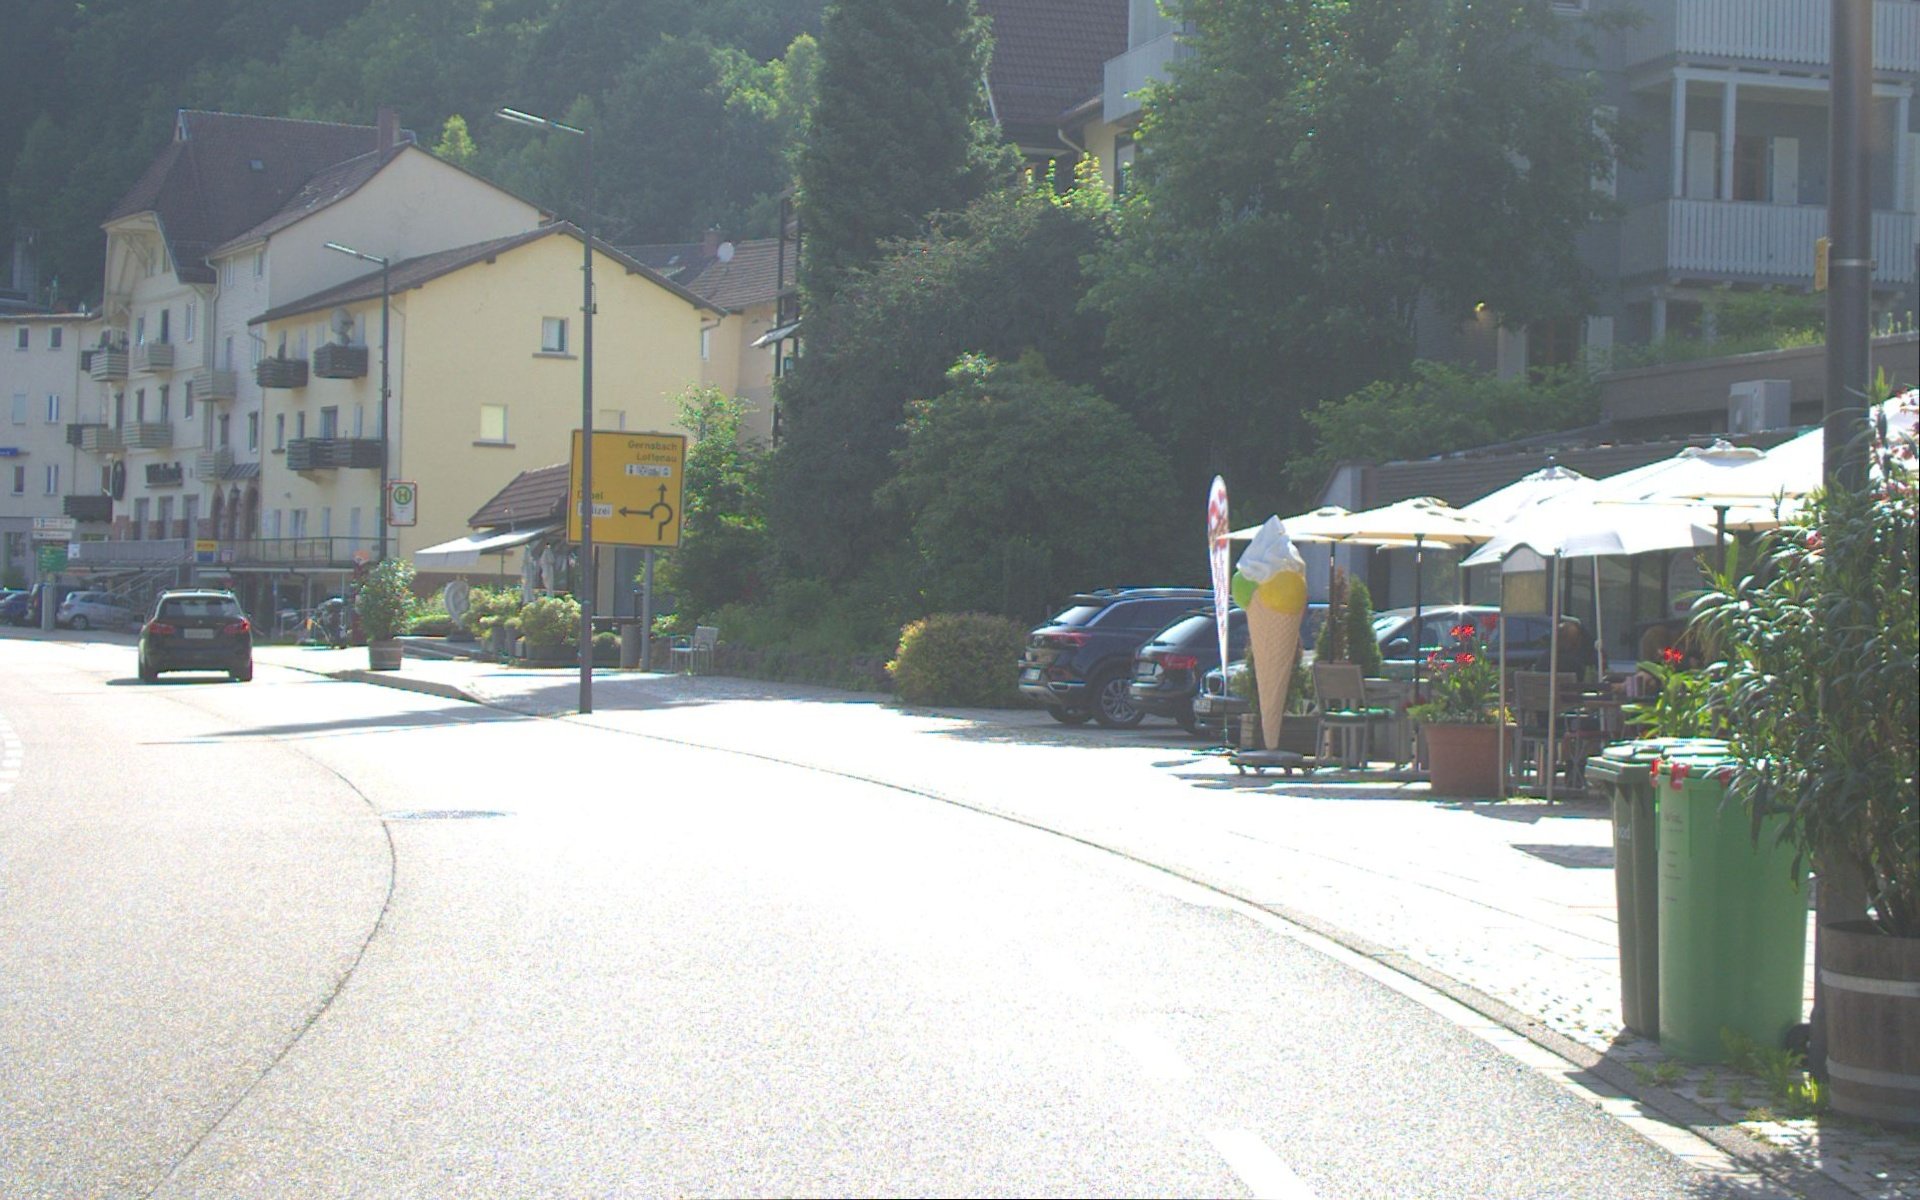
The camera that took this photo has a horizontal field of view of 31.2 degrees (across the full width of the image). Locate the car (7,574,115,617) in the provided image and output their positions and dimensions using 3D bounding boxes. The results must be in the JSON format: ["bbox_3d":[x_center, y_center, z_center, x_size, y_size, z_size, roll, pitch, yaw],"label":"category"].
[{"bbox_3d":[-36.589,-0.181,139.985,3.908,1.456,1.736,4,-1,-26],"label":"car"}]

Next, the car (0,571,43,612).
[{"bbox_3d":[-42.286,-0.459,149.899,4.083,1.660,1.773,5,-1,-26],"label":"car"}]

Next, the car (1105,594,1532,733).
[{"bbox_3d":[3.760,0.657,36.209,4.108,1.410,1.749,1,0,-15],"label":"car"}]

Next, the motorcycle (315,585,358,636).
[{"bbox_3d":[-16.337,0.273,90.020,0.697,1.292,2.213,-2,1,-20],"label":"motorcycle"}]

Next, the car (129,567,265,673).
[{"bbox_3d":[-13.043,0.324,58.660,1.726,1.569,3.754,3,1,-20],"label":"car"}]

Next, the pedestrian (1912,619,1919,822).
[{"bbox_3d":[6.355,0.750,21.171,0.810,1.256,0.700,0,0,3],"label":"pedestrian"}]

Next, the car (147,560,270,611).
[{"bbox_3d":[-26.771,-0.506,122.555,3.858,1.549,1.761,4,-1,-29],"label":"car"}]

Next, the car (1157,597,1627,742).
[{"bbox_3d":[4.244,0.681,33.930,4.261,1.374,1.710,1,0,-15],"label":"car"}]

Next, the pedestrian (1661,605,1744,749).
[{"bbox_3d":[6.638,0.682,30.776,0.698,1.256,0.812,0,0,11],"label":"pedestrian"}]

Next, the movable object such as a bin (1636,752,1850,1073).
[{"bbox_3d":[2.340,0.926,10.300,0.514,0.909,0.442,0,1,-5],"label":"movable object such as a bin"}]

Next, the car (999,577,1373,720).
[{"bbox_3d":[2.544,0.543,39.061,3.874,1.575,1.749,1,0,-15],"label":"car"}]

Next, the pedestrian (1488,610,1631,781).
[{"bbox_3d":[4.528,0.711,25.981,0.809,1.256,0.700,0,0,-24],"label":"pedestrian"}]

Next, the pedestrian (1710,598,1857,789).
[{"bbox_3d":[6.079,0.675,25.379,0.812,1.377,0.698,0,0,44],"label":"pedestrian"}]

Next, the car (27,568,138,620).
[{"bbox_3d":[-35.141,-0.237,137.668,3.908,1.798,1.858,5,-2,-26],"label":"car"}]

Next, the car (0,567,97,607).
[{"bbox_3d":[-39.096,-0.563,146.111,4.355,1.456,1.773,3,-2,-24],"label":"car"}]

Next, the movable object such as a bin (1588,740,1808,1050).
[{"bbox_3d":[2.322,0.920,10.856,0.547,0.922,0.520,0,1,-5],"label":"movable object such as a bin"}]

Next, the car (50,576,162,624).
[{"bbox_3d":[-33.615,-0.013,135.313,3.908,1.584,1.775,4,-1,-26],"label":"car"}]
